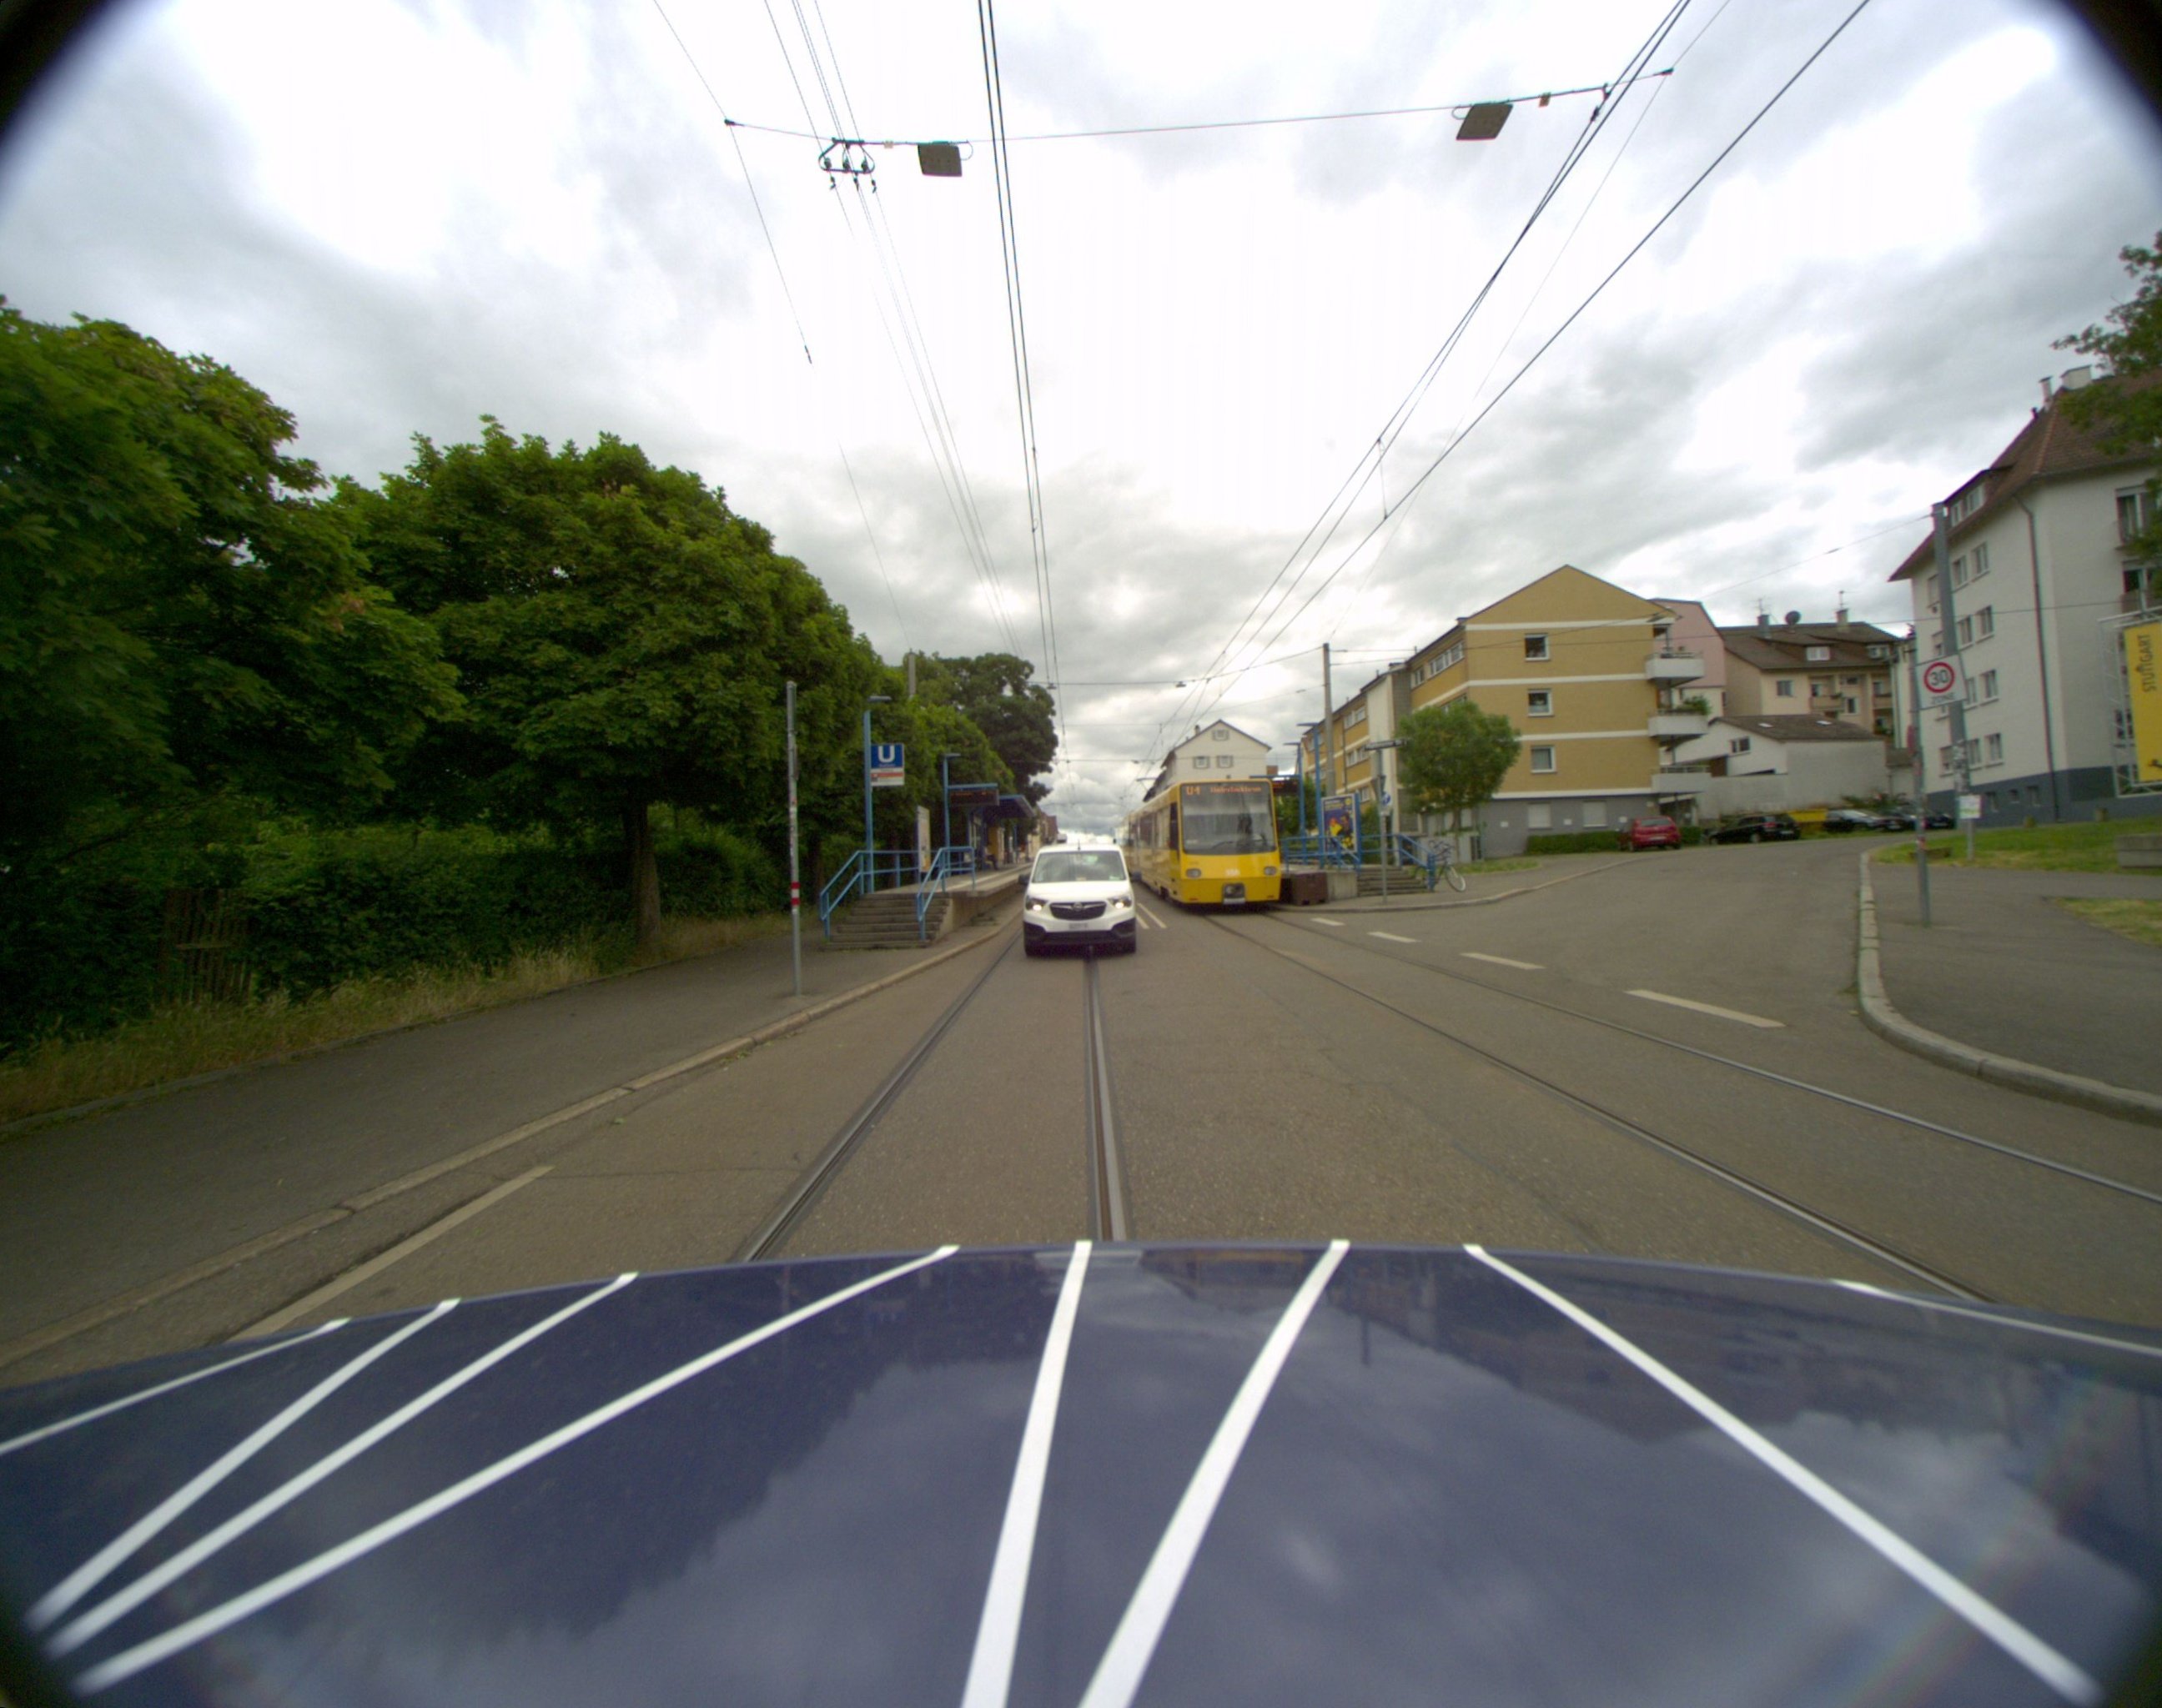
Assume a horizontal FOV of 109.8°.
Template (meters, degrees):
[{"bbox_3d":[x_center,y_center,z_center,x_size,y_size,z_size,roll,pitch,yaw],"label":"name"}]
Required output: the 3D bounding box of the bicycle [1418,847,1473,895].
[{"bbox_3d":[9.474,0.425,19.789,0.713,1.174,1.488,-2,1,1],"label":"bicycle"}]

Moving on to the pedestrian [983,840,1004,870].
[{"bbox_3d":[-3.838,0.043,33.358,0.781,1.307,0.657,-2,1,1],"label":"pedestrian"}]

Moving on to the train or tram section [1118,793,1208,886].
[{"bbox_3d":[3.583,-0.603,36.428,2.831,3.615,12.128,-2,0,0],"label":"train or tram section"}]

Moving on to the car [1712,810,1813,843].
[{"bbox_3d":[33.383,-1.301,37.375,1.839,1.455,4.003,-2,0,10],"label":"car"}]

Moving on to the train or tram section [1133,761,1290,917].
[{"bbox_3d":[3.538,-0.388,24.215,2.857,3.615,12.129,-2,0,0],"label":"train or tram section"}]

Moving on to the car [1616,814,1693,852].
[{"bbox_3d":[24.580,-0.891,32.714,1.838,1.455,4.006,-2,0,26],"label":"car"}]

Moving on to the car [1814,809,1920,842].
[{"bbox_3d":[38.677,-1.355,37.532,1.839,1.455,4.004,-2,0,16],"label":"car"}]

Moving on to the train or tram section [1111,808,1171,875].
[{"bbox_3d":[3.615,-0.730,48.627,2.758,3.615,12.128,-2,0,0],"label":"train or tram section"}]

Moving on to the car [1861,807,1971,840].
[{"bbox_3d":[41.344,-1.468,37.767,1.839,1.455,4.004,-2,0,16],"label":"car"}]

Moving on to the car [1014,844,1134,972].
[{"bbox_3d":[-0.039,0.816,13.566,1.730,1.850,4.421,-2,0,2],"label":"car"}]
